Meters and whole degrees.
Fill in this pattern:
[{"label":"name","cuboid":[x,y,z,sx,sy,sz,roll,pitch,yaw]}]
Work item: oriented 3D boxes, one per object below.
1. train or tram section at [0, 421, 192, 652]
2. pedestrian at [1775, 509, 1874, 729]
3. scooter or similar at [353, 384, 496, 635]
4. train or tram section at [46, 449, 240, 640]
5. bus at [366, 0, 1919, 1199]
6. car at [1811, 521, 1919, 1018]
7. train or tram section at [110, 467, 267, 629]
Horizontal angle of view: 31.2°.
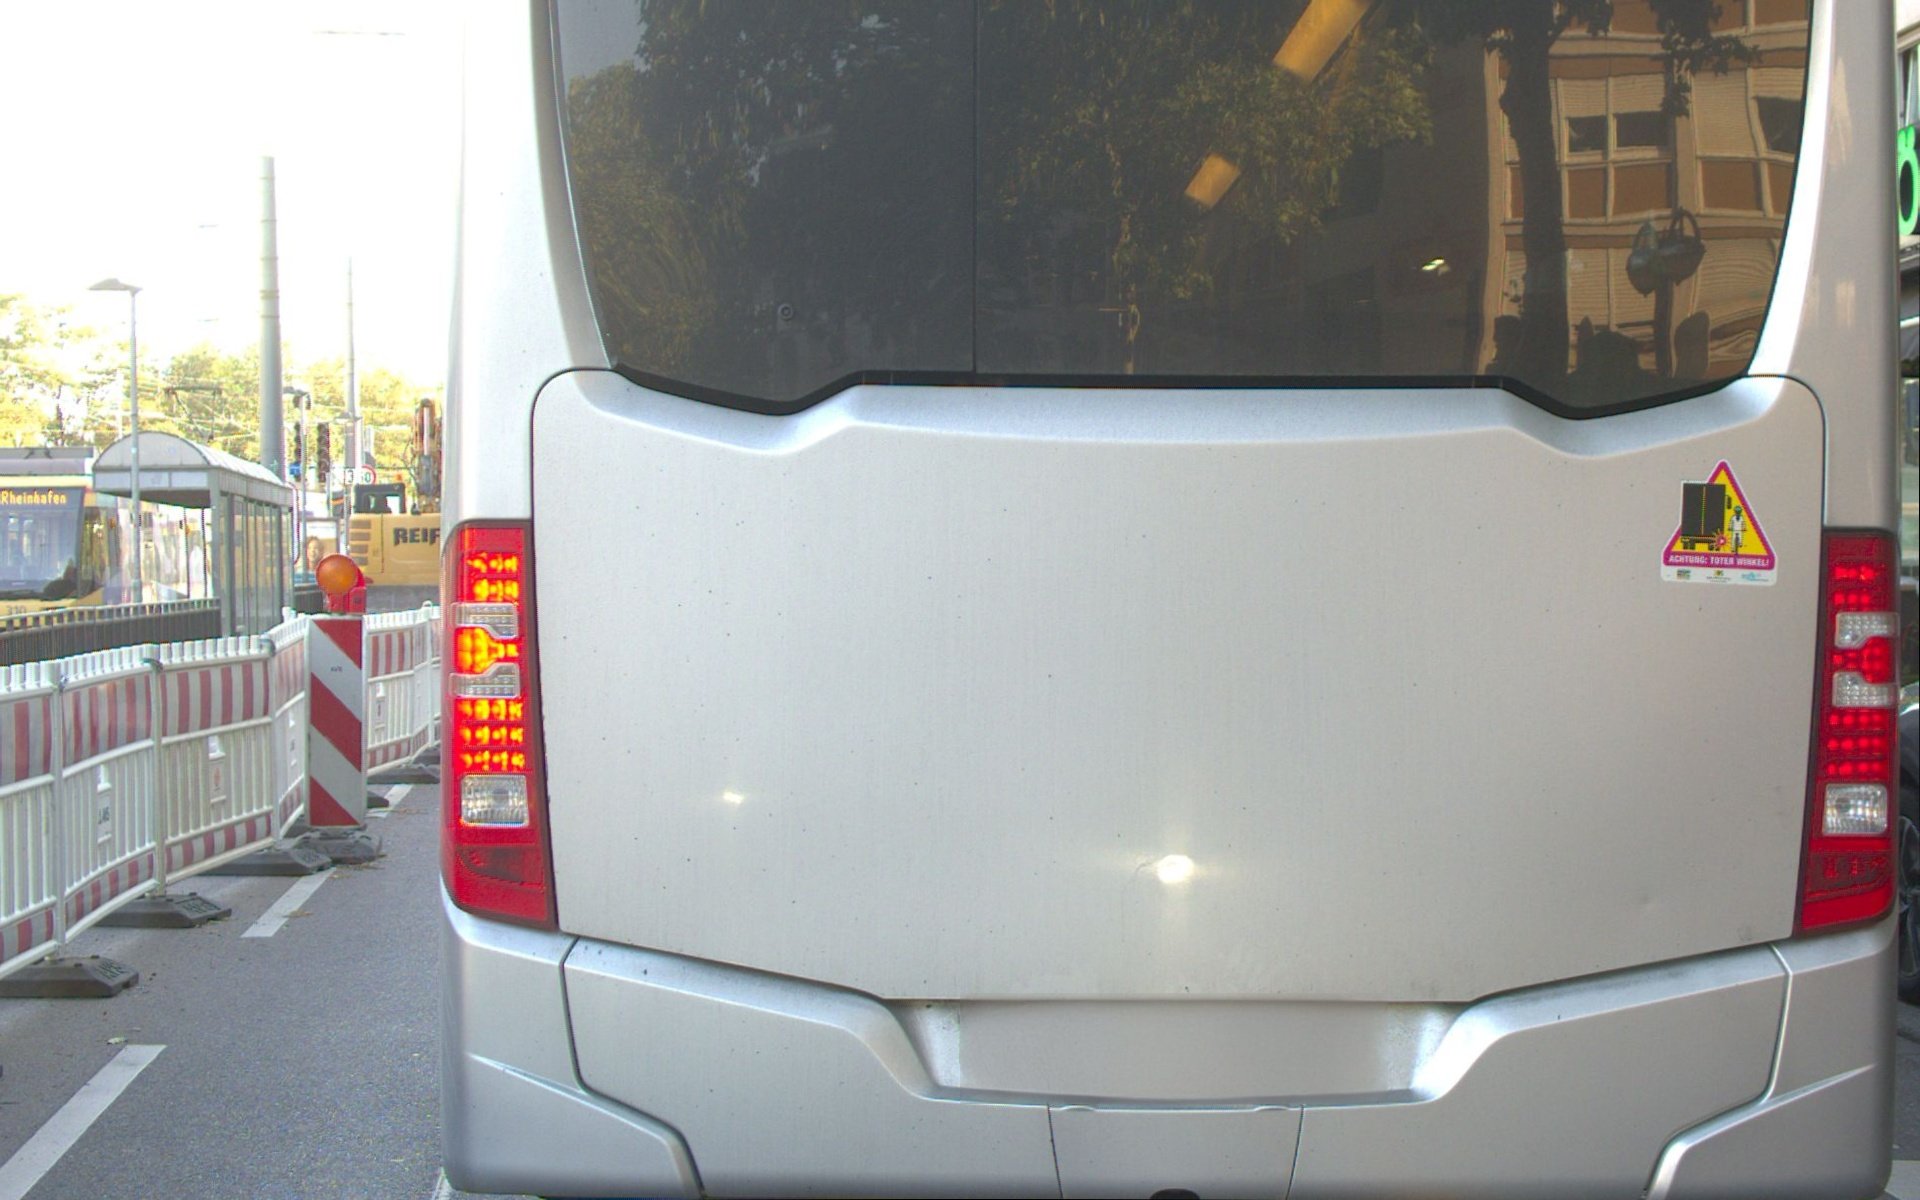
[{"label":"train or tram section","cuboid":[-15.149,-1.039,58.401,2.686,3.521,11.774,1,1,-6]},{"label":"pedestrian","cuboid":[6.690,0.142,26.600,0.664,1.661,0.600,-2,0,16]},{"label":"scooter or similar","cuboid":[-9.963,-1.654,64.403,2.468,4.455,5.974,-1,1,-8]},{"label":"train or tram section","cuboid":[-16.479,-1.099,70.032,2.686,3.546,11.585,1,1,-8]},{"label":"bus","cuboid":[0.339,-0.209,9.477,2.611,3.115,7.993,1,1,-1]},{"label":"car","cuboid":[4.150,0.529,9.745,1.993,1.576,4.369,-3,1,-5]},{"label":"train or tram section","cuboid":[-18.158,-1.201,81.507,2.686,3.521,11.585,1,1,-8]}]
